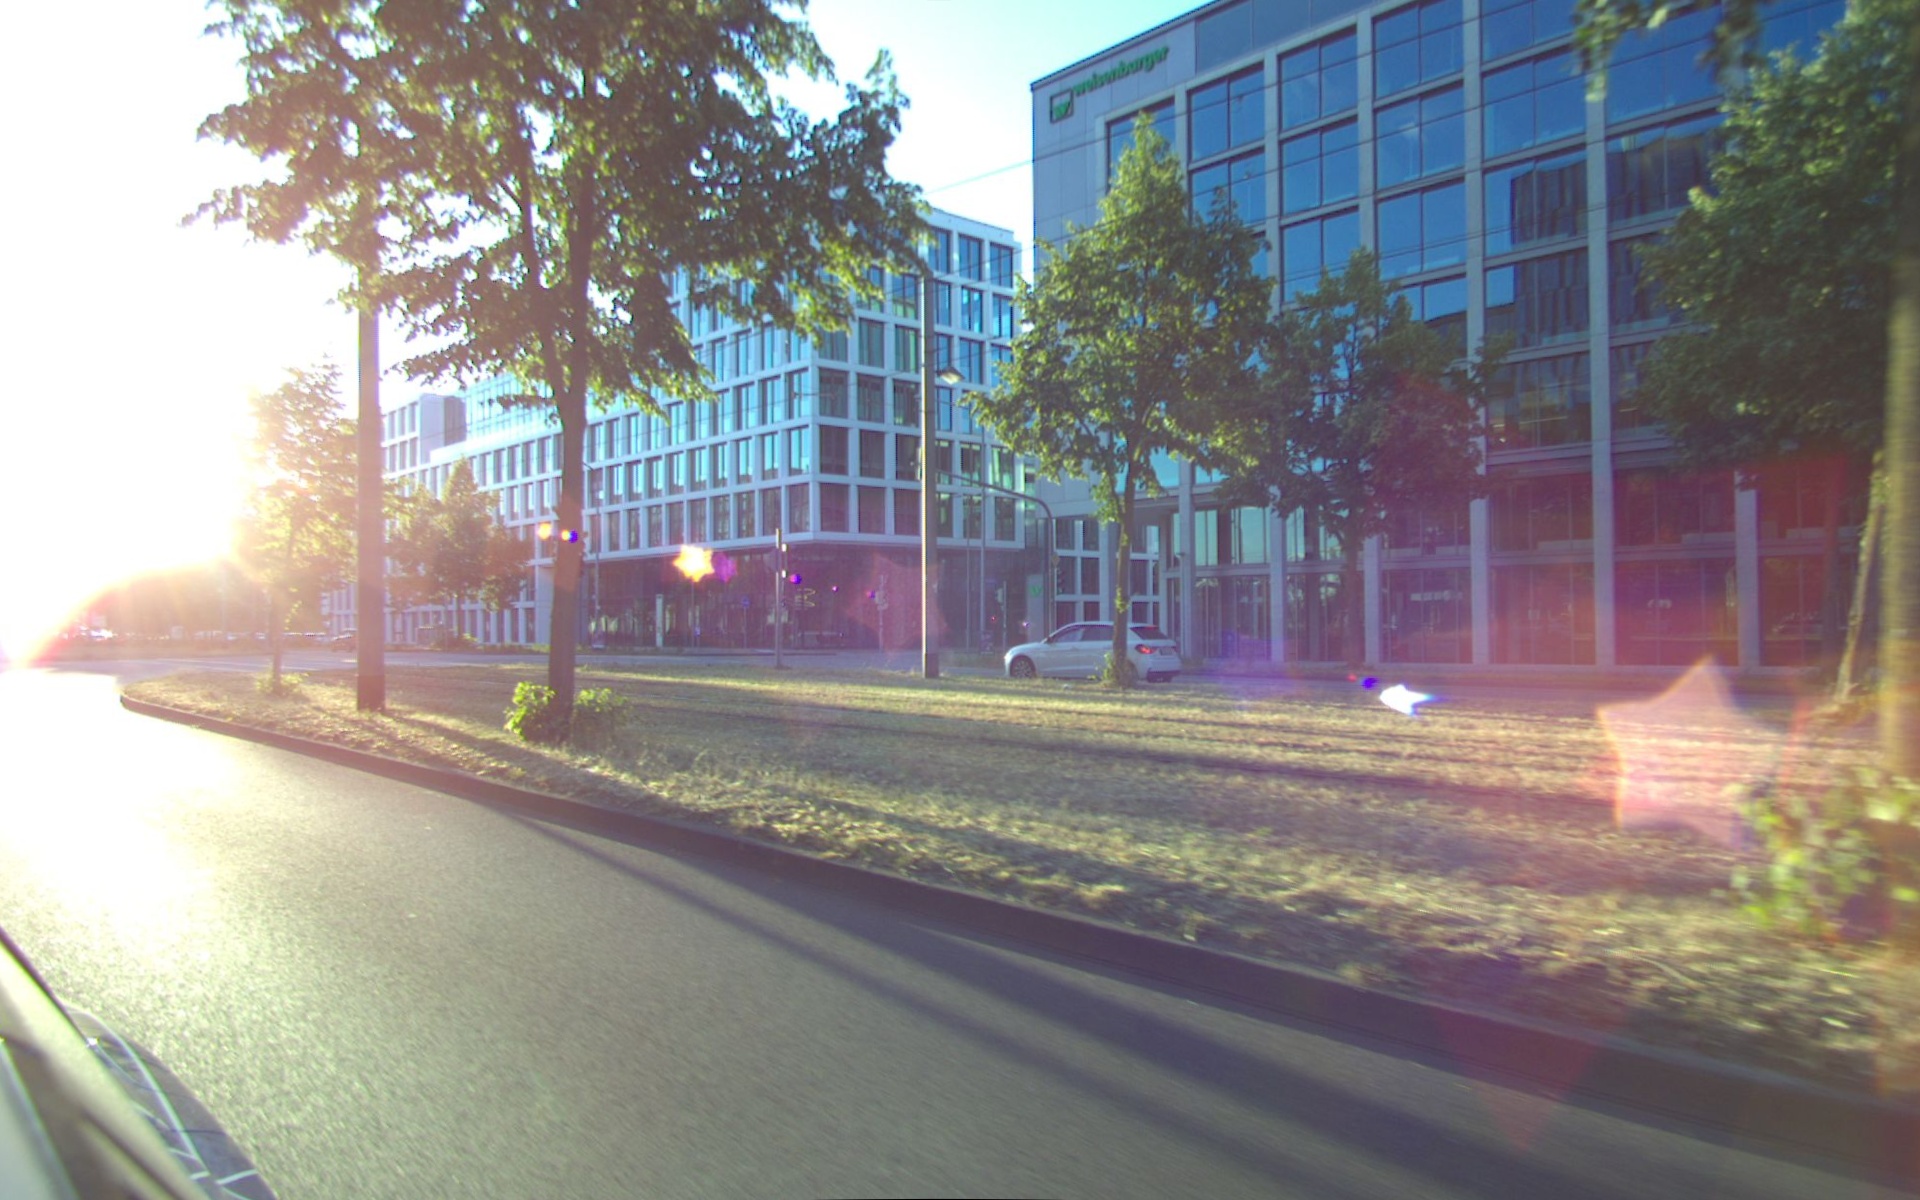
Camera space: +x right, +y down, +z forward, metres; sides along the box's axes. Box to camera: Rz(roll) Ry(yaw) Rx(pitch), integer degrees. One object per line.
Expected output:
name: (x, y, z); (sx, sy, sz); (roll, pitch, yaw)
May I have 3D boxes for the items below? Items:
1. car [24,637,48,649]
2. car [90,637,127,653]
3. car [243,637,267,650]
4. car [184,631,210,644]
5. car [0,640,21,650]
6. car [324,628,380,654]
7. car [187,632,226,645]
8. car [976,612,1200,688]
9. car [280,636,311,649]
car: (-114.428, 5.299, 125.283); (3.996, 1.414, 1.629); (-2, -2, 40)
car: (-83.338, 4.418, 99.032); (4.895, 1.445, 1.973); (-1, -2, 40)
car: (-89.039, 5.458, 127.826); (1.970, 1.604, 4.339); (1, -2, -43)
car: (-107.745, 5.314, 142.939); (4.608, 1.754, 1.973); (-2, -2, 41)
car: (-135.957, 6.480, 144.896); (3.996, 1.414, 1.629); (-2, -2, 40)
car: (-36.394, 2.441, 60.532); (3.996, 1.460, 1.624); (-2, -2, 39)
car: (-104.049, 5.278, 139.772); (1.997, 1.754, 4.032); (-2, -2, 38)
car: (2.741, 1.053, 22.305); (4.626, 1.497, 1.883); (-2, -2, 39)
car: (-72.584, 4.614, 110.452); (3.996, 1.414, 1.741); (-2, -2, 40)
